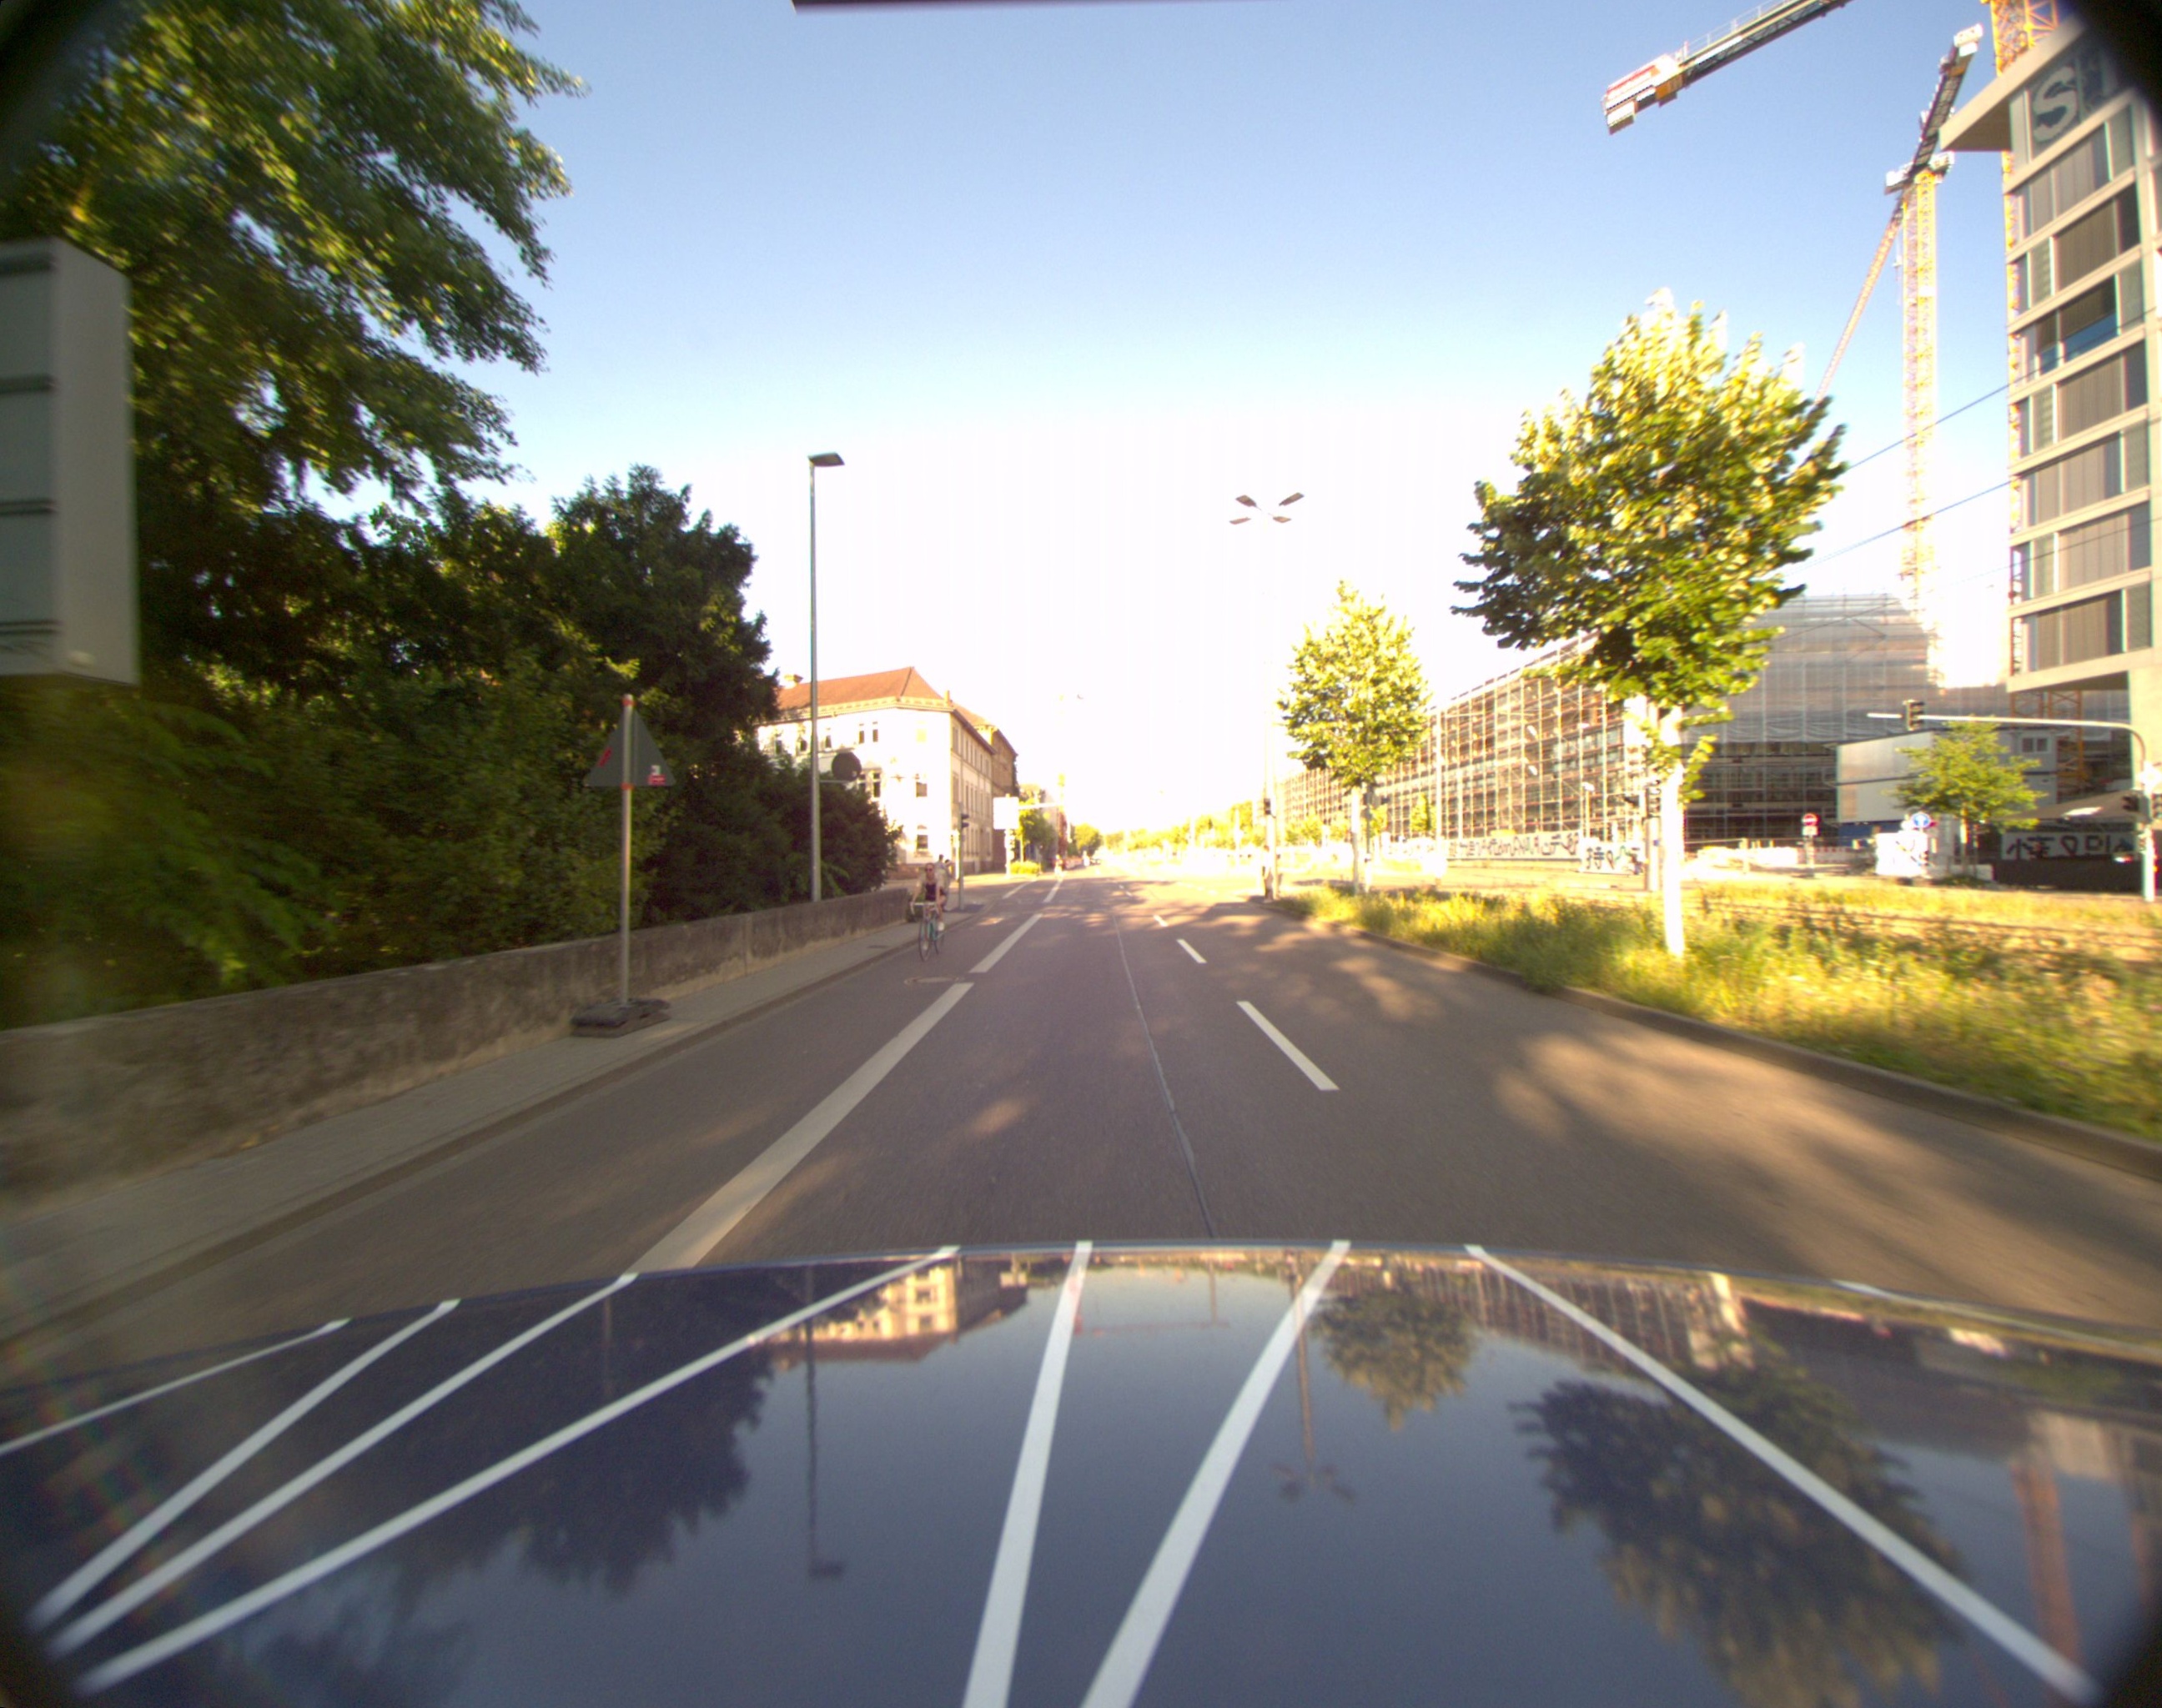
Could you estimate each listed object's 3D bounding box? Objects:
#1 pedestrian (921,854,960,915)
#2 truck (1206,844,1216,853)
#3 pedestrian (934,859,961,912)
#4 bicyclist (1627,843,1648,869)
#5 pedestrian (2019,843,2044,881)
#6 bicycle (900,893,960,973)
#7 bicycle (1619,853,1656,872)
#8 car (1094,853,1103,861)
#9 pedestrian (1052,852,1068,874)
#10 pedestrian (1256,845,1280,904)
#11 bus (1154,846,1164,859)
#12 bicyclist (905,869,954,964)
[{"bbox_3d":[-4.278,0.905,23.187,0.861,1.792,0.905,1,1,-33],"label":"pedestrian"},{"bbox_3d":[36.656,-1.499,214.109,2.143,2.559,4.741,-1,0,3],"label":"truck"},{"bbox_3d":[-4.205,0.975,23.956,0.769,1.627,0.769,1,1,-8],"label":"pedestrian"},{"bbox_3d":[32.042,0.098,43.769,0.626,1.456,0.851,-1,1,2],"label":"bicyclist"},{"bbox_3d":[37.745,0.319,30.174,0.589,1.490,0.575,-2,1,-42],"label":"pedestrian"},{"bbox_3d":[-2.453,1.258,12.501,0.522,1.091,1.842,-4,0,1],"label":"bicycle"},{"bbox_3d":[32.054,0.497,43.793,0.626,1.060,2.078,-1,0,2],"label":"bicycle"},{"bbox_3d":[4.167,0.704,179.531,1.999,1.696,3.999,-1,0,-1],"label":"car"},{"bbox_3d":[-1.617,0.693,58.281,0.925,1.639,0.767,0,1,31],"label":"pedestrian"},{"bbox_3d":[5.492,0.594,22.321,0.599,1.689,0.714,-1,1,6],"label":"pedestrian"},{"bbox_3d":[20.632,-0.383,201.371,2.722,3.203,8.659,-1,0,6],"label":"bus"},{"bbox_3d":[-2.479,0.999,12.505,0.553,1.482,1.081,-1,0,1],"label":"bicyclist"}]
